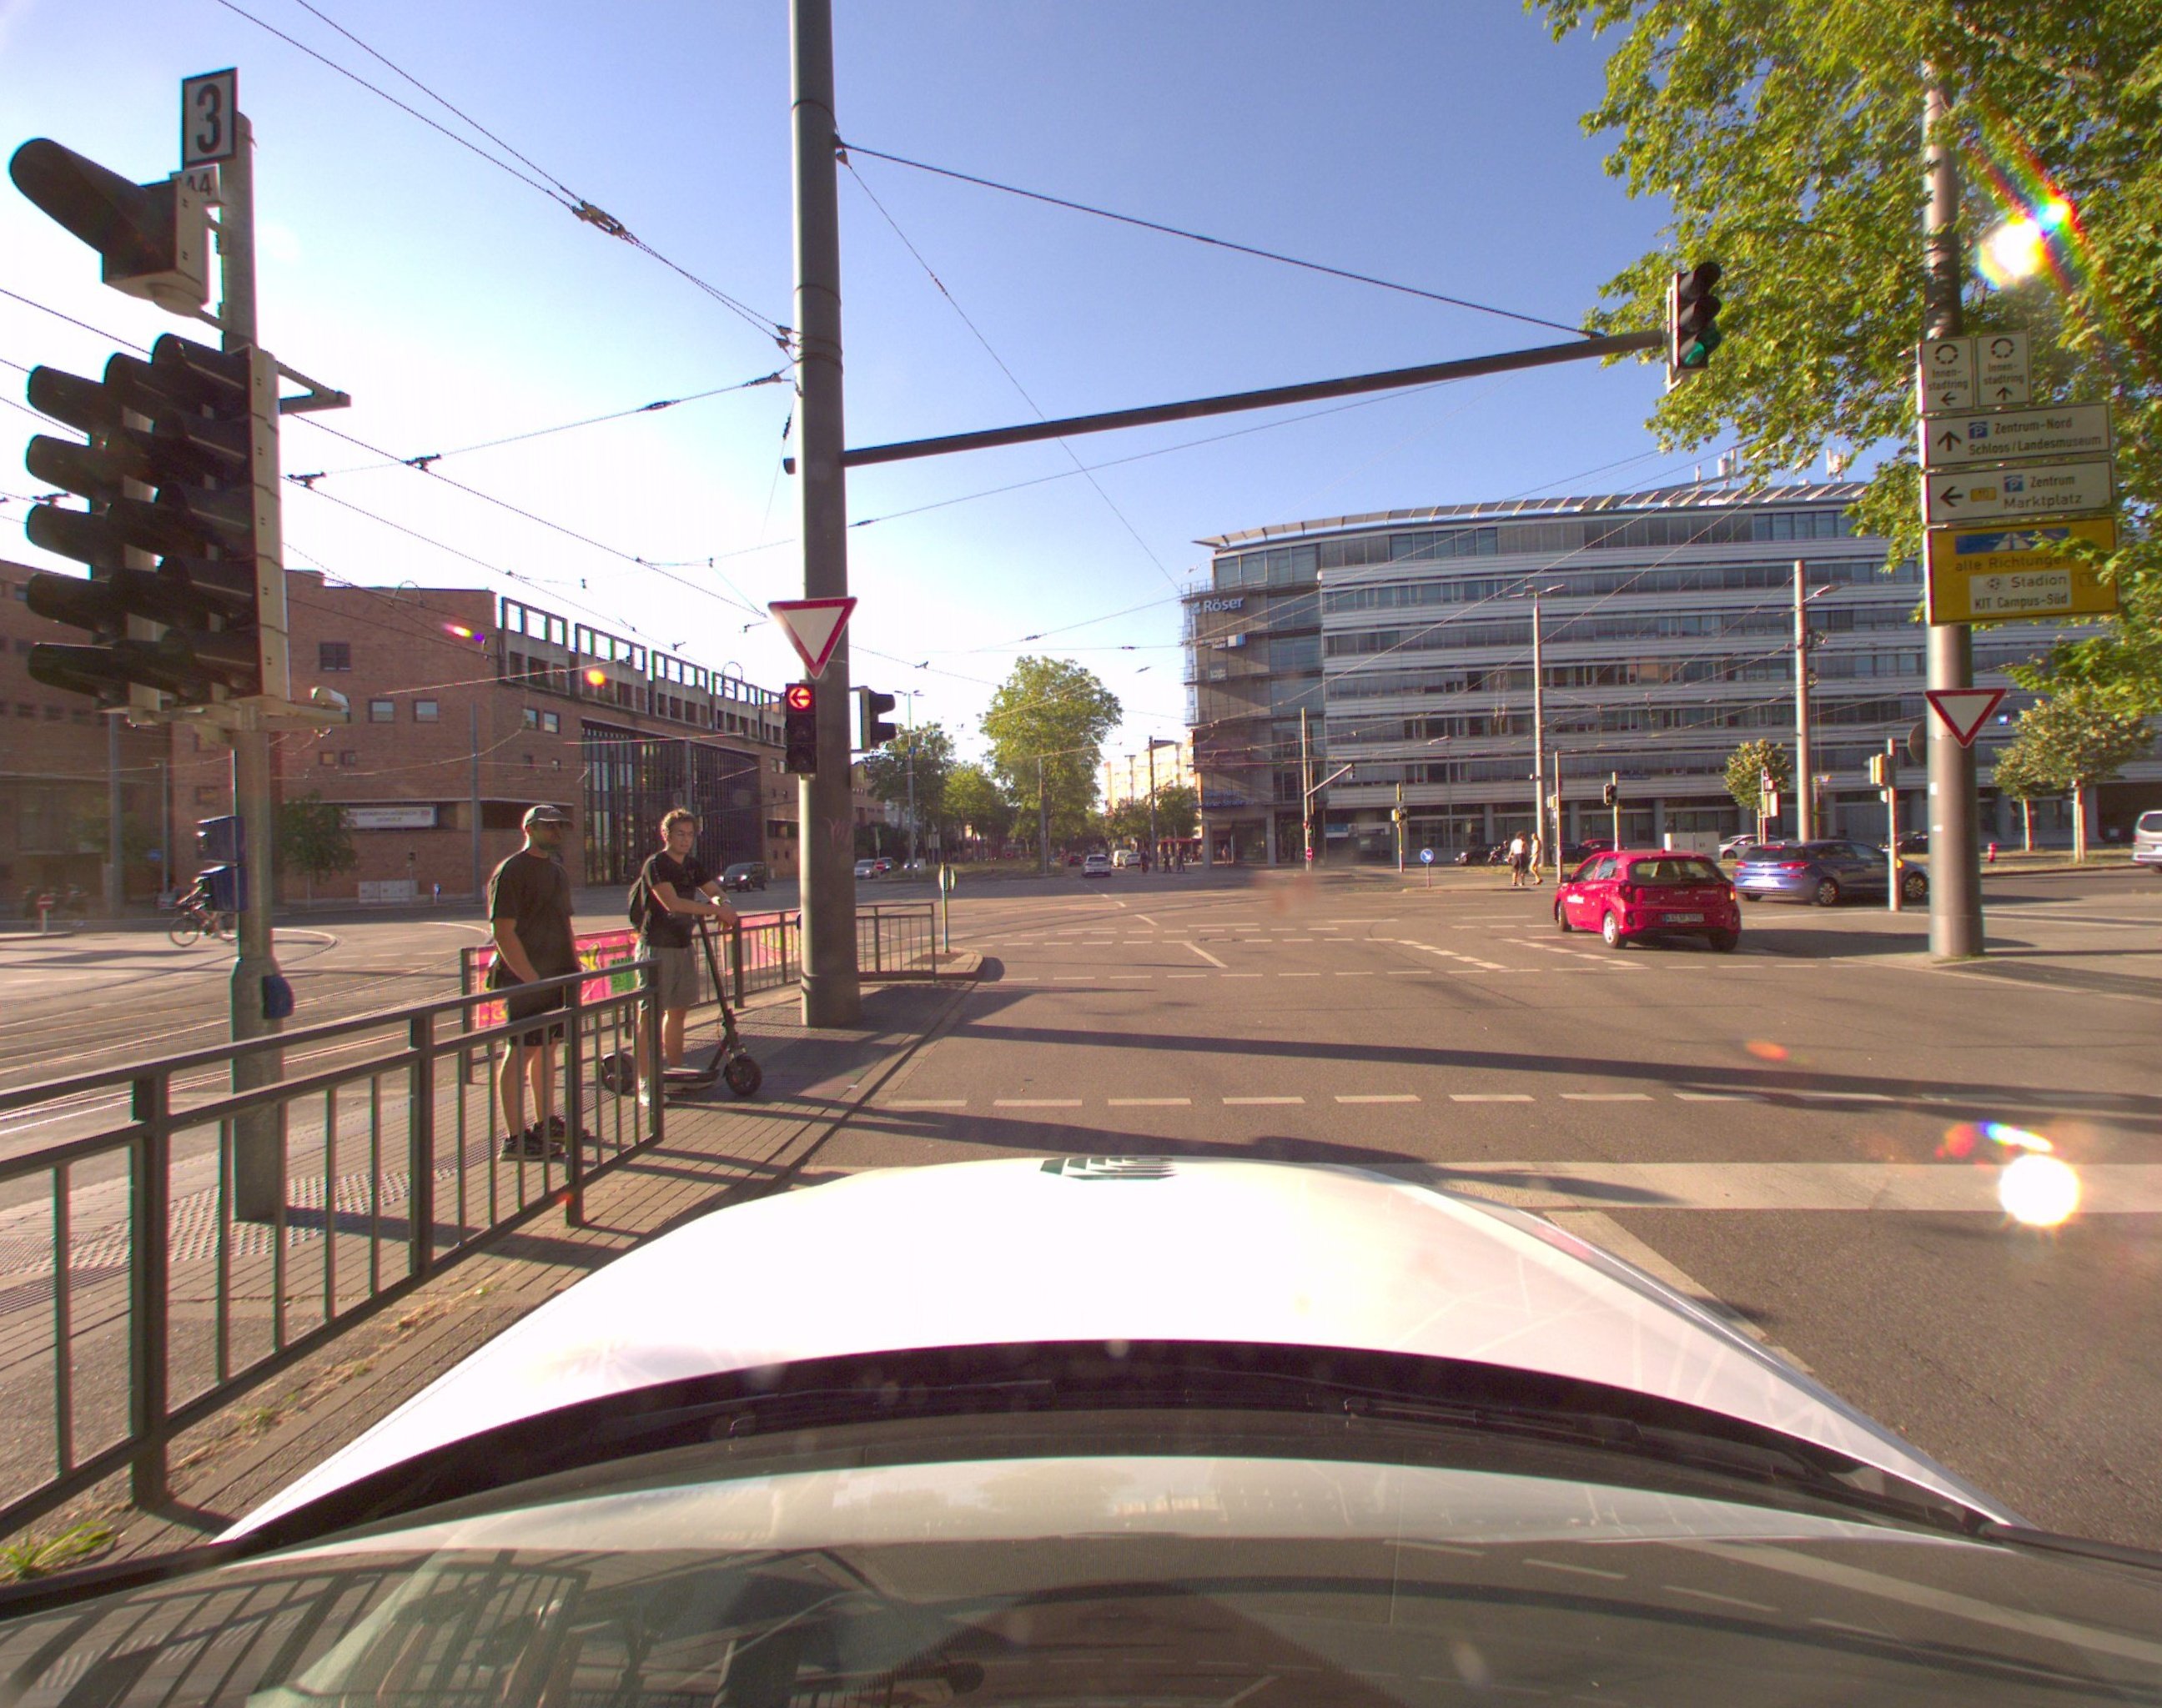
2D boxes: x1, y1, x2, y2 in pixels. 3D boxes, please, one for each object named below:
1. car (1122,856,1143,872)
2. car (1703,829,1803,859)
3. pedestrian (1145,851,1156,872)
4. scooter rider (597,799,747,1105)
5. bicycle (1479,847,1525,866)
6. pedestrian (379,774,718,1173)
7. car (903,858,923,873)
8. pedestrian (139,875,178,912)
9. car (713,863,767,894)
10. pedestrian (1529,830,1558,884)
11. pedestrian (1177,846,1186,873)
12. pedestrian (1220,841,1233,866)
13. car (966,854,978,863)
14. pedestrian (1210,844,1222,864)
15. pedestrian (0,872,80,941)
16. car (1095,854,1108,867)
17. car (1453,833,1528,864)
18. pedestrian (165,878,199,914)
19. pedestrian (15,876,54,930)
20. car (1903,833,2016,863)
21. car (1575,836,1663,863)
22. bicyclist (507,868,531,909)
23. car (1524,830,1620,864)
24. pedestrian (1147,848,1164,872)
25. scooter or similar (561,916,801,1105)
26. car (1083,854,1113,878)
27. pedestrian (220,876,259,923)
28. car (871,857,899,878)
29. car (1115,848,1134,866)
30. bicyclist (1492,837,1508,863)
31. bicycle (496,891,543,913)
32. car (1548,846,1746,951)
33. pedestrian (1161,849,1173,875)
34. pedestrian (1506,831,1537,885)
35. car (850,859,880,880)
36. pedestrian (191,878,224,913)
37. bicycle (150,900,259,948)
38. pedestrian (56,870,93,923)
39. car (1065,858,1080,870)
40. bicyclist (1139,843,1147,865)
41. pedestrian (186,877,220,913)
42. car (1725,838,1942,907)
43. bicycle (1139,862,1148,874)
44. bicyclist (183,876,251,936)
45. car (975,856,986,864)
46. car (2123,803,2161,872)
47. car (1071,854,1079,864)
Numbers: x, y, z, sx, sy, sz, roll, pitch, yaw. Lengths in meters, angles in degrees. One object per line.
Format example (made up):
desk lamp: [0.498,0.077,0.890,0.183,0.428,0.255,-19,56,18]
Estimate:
car: [5.193,0.983,82.912,2.022,1.596,4.001,0,-1,2]
car: [37.347,-0.563,45.339,3.968,1.596,1.884,0,-1,5]
pedestrian: [5.741,0.596,66.982,0.866,1.707,0.794,0,-1,1]
scooter rider: [-2.648,0.607,5.319,0.563,1.853,0.681,-2,-2,6]
bicycle: [25.366,0.142,49.106,2.397,1.022,0.638,-2,0,6]
pedestrian: [-2.757,0.583,4.328,1.161,1.884,0.856,-2,0,6]
car: [-18.586,1.278,90.196,1.673,1.607,3.994,0,-1,-4]
pedestrian: [-53.208,2.258,46.980,1.155,2.013,0.910,-2,0,-2]
car: [-20.479,1.439,49.032,1.865,1.762,3.992,0,0,-5]
pedestrian: [15.481,0.096,27.266,0.732,1.759,0.689,-2,0,26]
pedestrian: [7.722,0.432,62.723,0.584,2.014,0.620,0,-1,2]
pedestrian: [11.906,-0.011,66.600,0.866,2.014,0.794,0,-2,1]
car: [-24.148,1.021,180.565,1.867,2.013,4.477,-2,0,4]
pedestrian: [15.552,0.013,93.917,1.305,2.190,1.173,-3,-1,8]
pedestrian: [-31.331,1.554,24.449,1.029,2.014,1.208,0,-1,1]
car: [3.213,1.009,127.033,1.986,2.014,4.001,0,-1,2]
car: [27.095,-0.339,53.973,3.972,2.014,2.001,0,-1,2]
pedestrian: [-53.582,2.491,48.537,1.003,2.052,0.850,-2,0,-1]
pedestrian: [-39.760,1.852,30.946,0.615,2.013,0.726,-2,0,-28]
car: [48.850,-0.313,45.355,4.097,1.596,1.884,0,-1,5]
car: [32.046,-0.246,48.596,3.966,1.552,1.800,0,-1,6]
bicyclist: [-22.983,1.396,33.305,0.585,1.625,0.514,-2,0,-3]
car: [27.753,-0.372,46.166,4.234,1.723,1.886,-2,0,4]
pedestrian: [6.057,0.477,66.277,1.337,1.950,1.011,-2,-1,1]
scooter or similar: [-2.562,0.988,5.298,1.196,1.081,0.649,-2,0,5]
car: [1.153,0.760,53.305,1.740,1.418,4.004,-1,0,4]
pedestrian: [-35.438,1.903,34.305,0.721,1.902,0.875,0,-1,-1]
car: [-18.114,1.247,75.514,1.819,1.790,3.994,-2,0,-4]
car: [4.741,0.342,89.687,1.986,2.014,4.001,0,-1,2]
bicyclist: [25.253,-0.244,49.116,0.660,1.503,0.614,-2,0,7]
bicycle: [-22.959,1.939,33.355,0.588,0.771,1.966,-2,0,-2]
car: [9.000,0.621,13.293,1.479,1.459,3.611,-1,0,14]
pedestrian: [6.762,0.625,63.949,0.846,2.014,0.708,0,-1,1]
pedestrian: [14.606,0.136,27.026,0.672,1.759,0.744,-2,0,13]
car: [-17.980,1.279,67.885,1.618,1.577,3.994,-2,0,-4]
pedestrian: [-53.577,2.547,49.964,1.003,2.052,0.850,-2,0,-1]
bicycle: [-22.230,1.748,20.711,0.650,1.050,2.010,-1,0,-3]
pedestrian: [-38.964,1.629,31.529,0.615,2.013,0.726,-2,0,-28]
car: [-1.094,1.269,101.172,1.759,1.404,4.293,-1,0,-2]
bicyclist: [4.044,-0.005,53.311,0.485,1.439,0.616,0,-1,1]
pedestrian: [-52.177,2.442,48.387,1.003,2.052,0.850,-2,0,-1]
car: [17.617,0.386,19.113,4.204,1.459,1.745,-1,0,-14]
bicycle: [4.063,0.905,53.285,0.489,0.788,1.862,-1,0,2]
bicyclist: [-22.250,1.311,20.985,0.652,1.474,1.031,-1,-1,-3]
car: [-24.467,1.530,198.397,1.903,1.783,4.002,-2,0,2]
car: [32.126,-0.498,22.500,4.865,1.896,2.001,-1,0,-9]
car: [-1.541,1.362,216.305,1.985,2.015,4.000,0,-9,3]
